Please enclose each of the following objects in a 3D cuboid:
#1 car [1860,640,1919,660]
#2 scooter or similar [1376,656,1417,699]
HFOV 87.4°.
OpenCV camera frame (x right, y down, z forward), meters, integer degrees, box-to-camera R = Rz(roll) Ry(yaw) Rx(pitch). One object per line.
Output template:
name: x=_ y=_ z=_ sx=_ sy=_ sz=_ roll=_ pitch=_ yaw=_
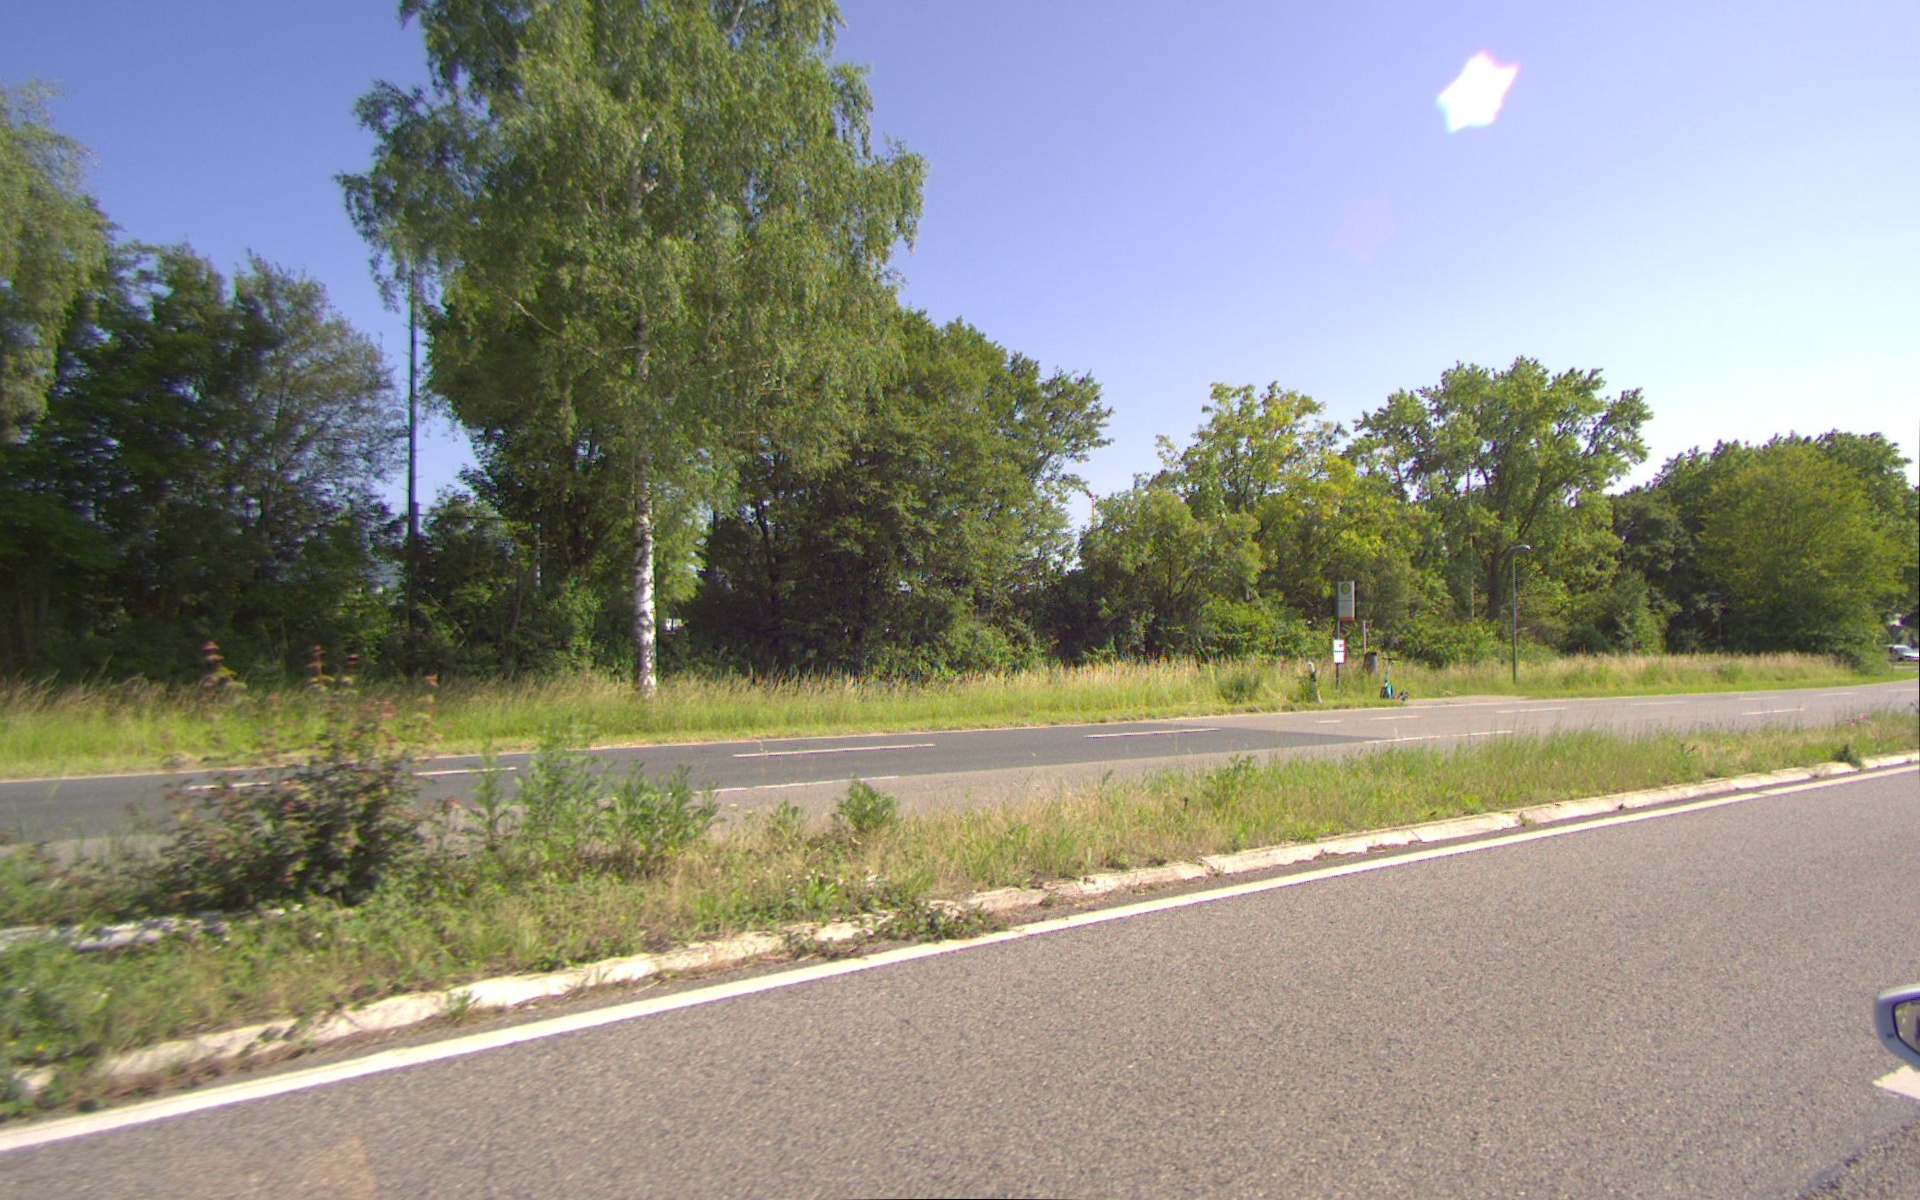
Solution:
car: x=86.133 y=4.634 z=92.912 sx=1.964 sy=1.824 sz=4.511 roll=0 pitch=-2 yaw=5
scooter or similar: x=12.626 y=2.236 z=29.052 sx=1.325 sy=1.201 sz=0.366 roll=2 pitch=-4 yaw=-31
